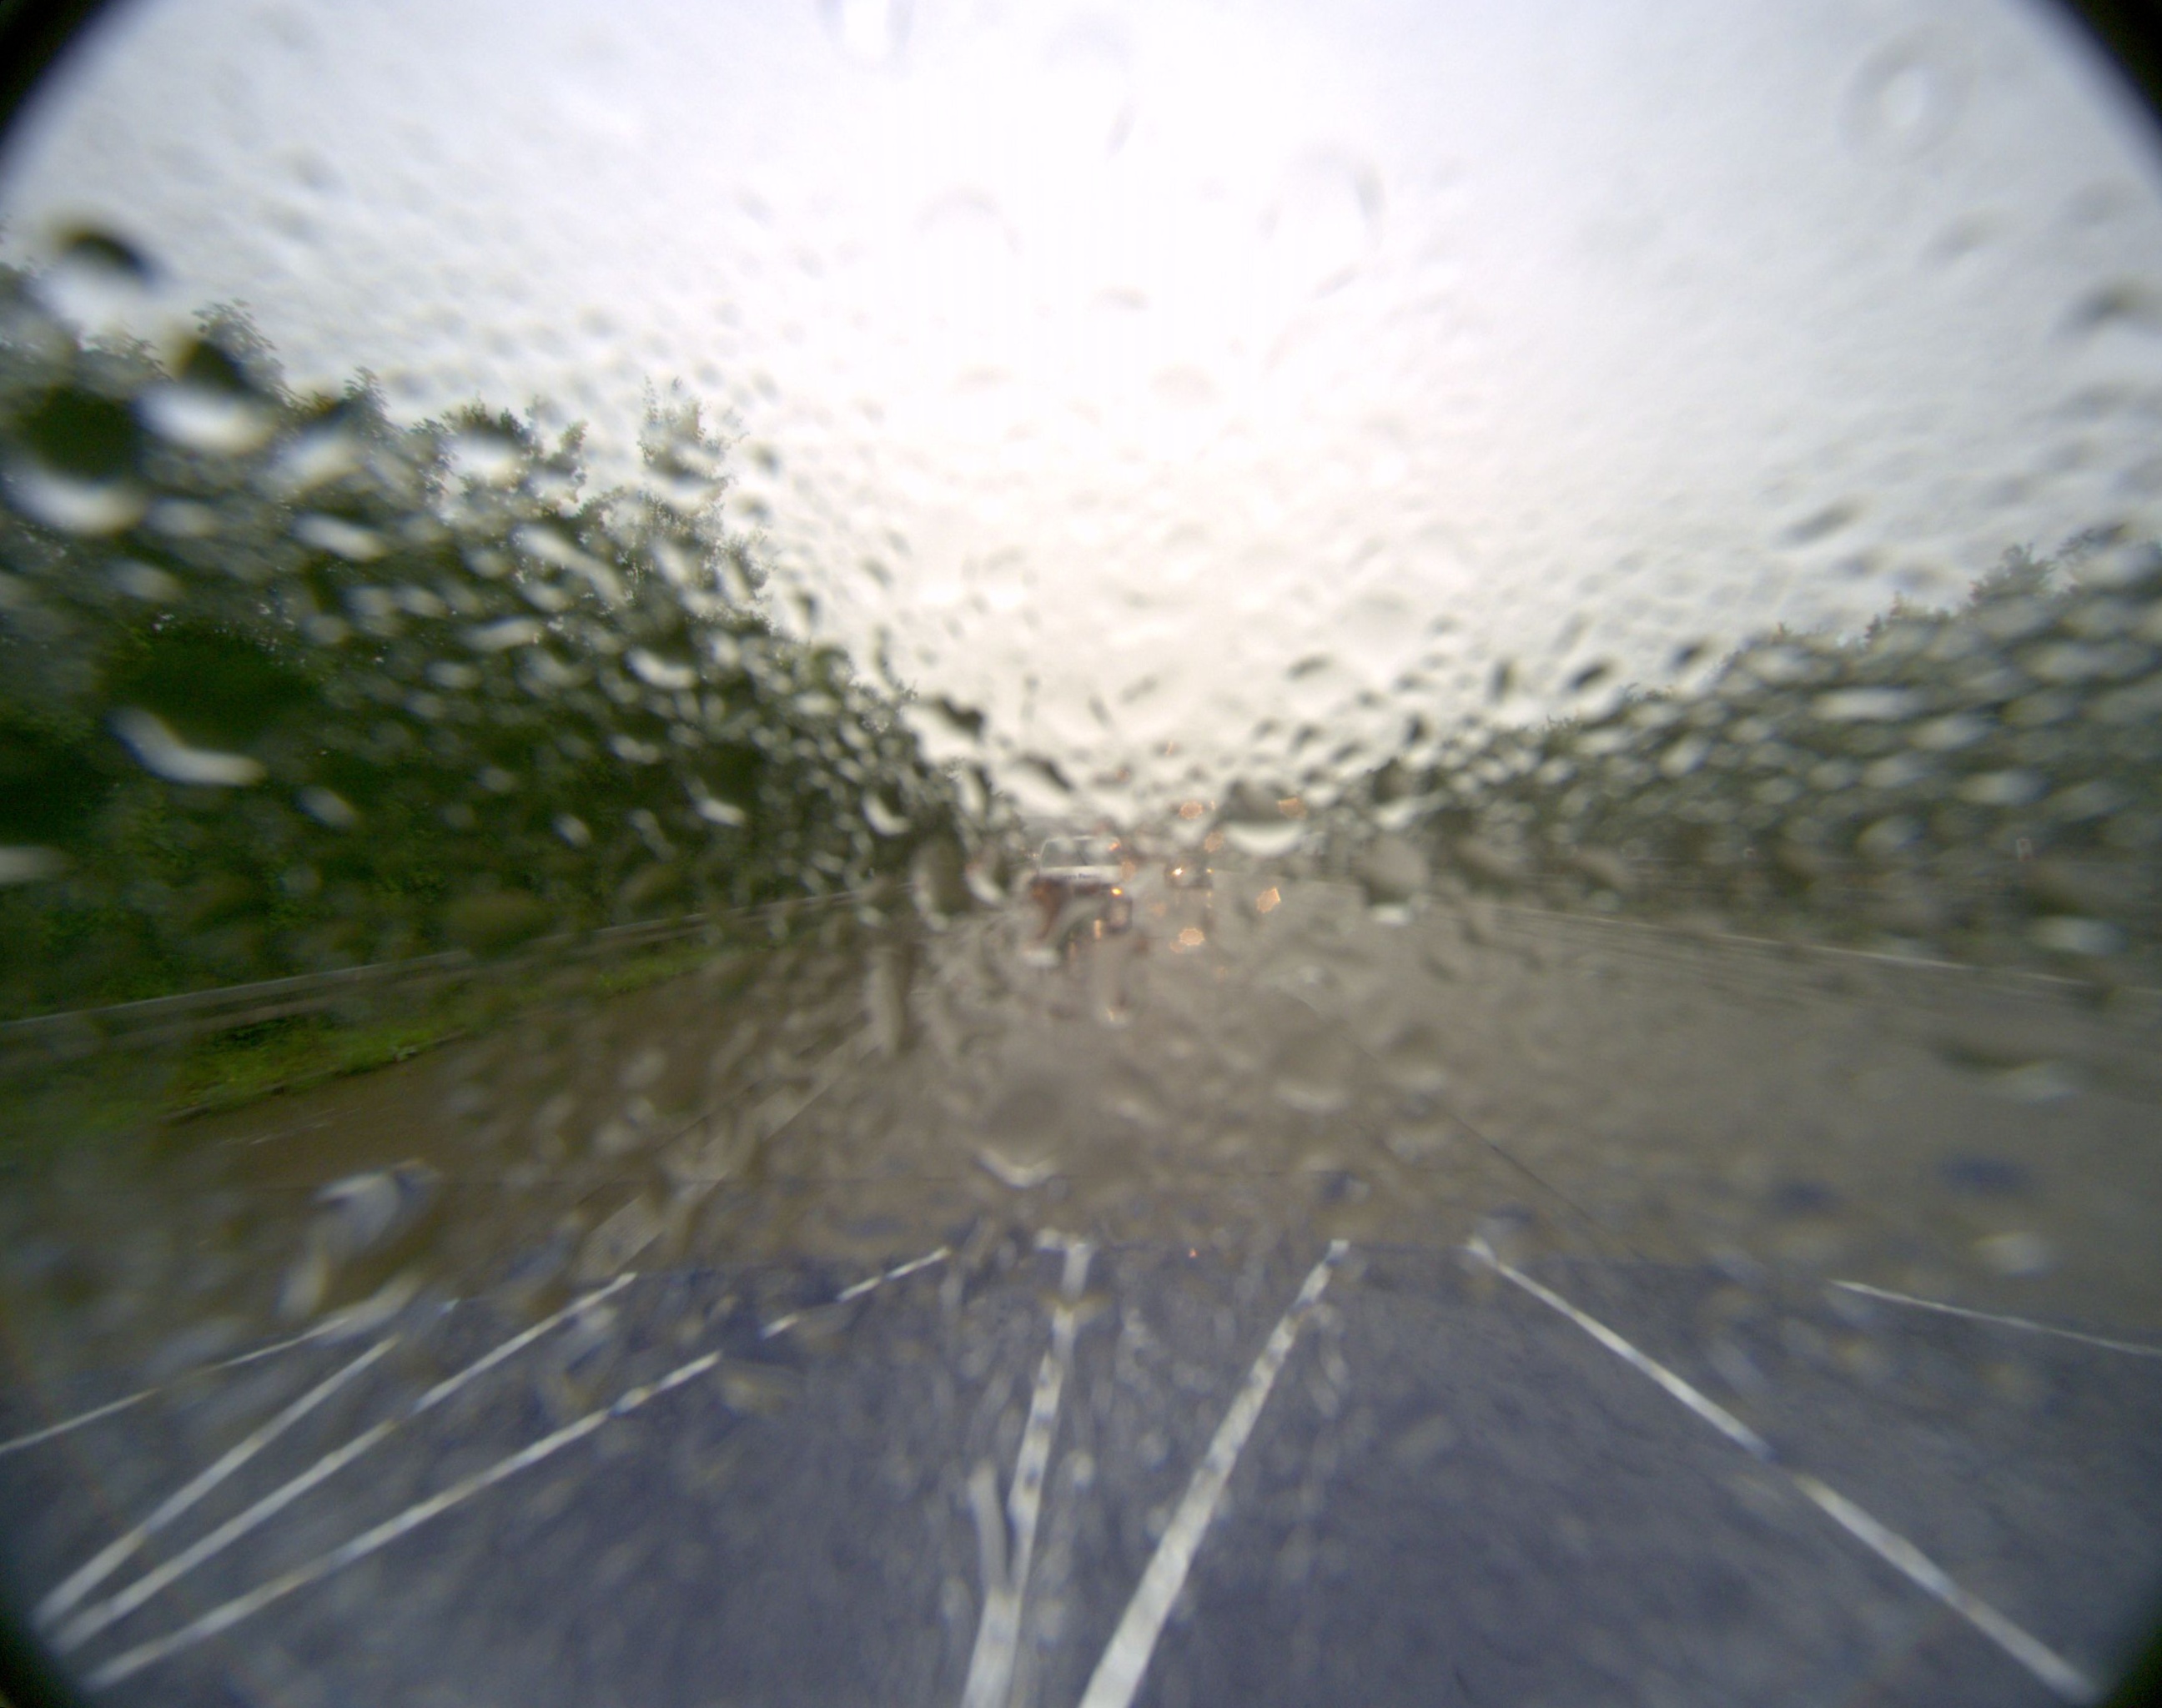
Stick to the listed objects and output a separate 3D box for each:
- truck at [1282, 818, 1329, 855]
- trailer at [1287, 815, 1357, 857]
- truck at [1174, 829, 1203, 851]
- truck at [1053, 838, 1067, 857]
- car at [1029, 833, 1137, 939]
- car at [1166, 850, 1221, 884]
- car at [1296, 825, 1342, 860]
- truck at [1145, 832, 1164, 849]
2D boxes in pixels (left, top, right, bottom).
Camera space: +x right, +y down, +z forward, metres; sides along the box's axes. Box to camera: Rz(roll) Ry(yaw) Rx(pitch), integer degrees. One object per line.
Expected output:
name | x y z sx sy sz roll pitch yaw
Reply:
truck | 24.564 -1.854 83.493 3.144 3.834 6.885 -2 1 1
trailer | 24.506 -1.773 78.232 3.144 3.834 12.869 -2 1 1
truck | 21.988 -2.832 156.628 3.132 4.220 16.367 -2 0 -1
truck | -5.058 -1.454 179.487 3.059 3.995 10.041 1 -1 -2
car | 0.102 0.565 16.400 1.904 1.883 5.043 -2 0 2
car | 4.928 0.528 33.793 1.745 1.380 4.320 0 1 0
car | 21.139 -1.010 67.821 2.093 2.883 6.533 -2 1 1
truck | 19.030 -3.385 197.544 3.132 4.220 13.537 -2 0 -2
